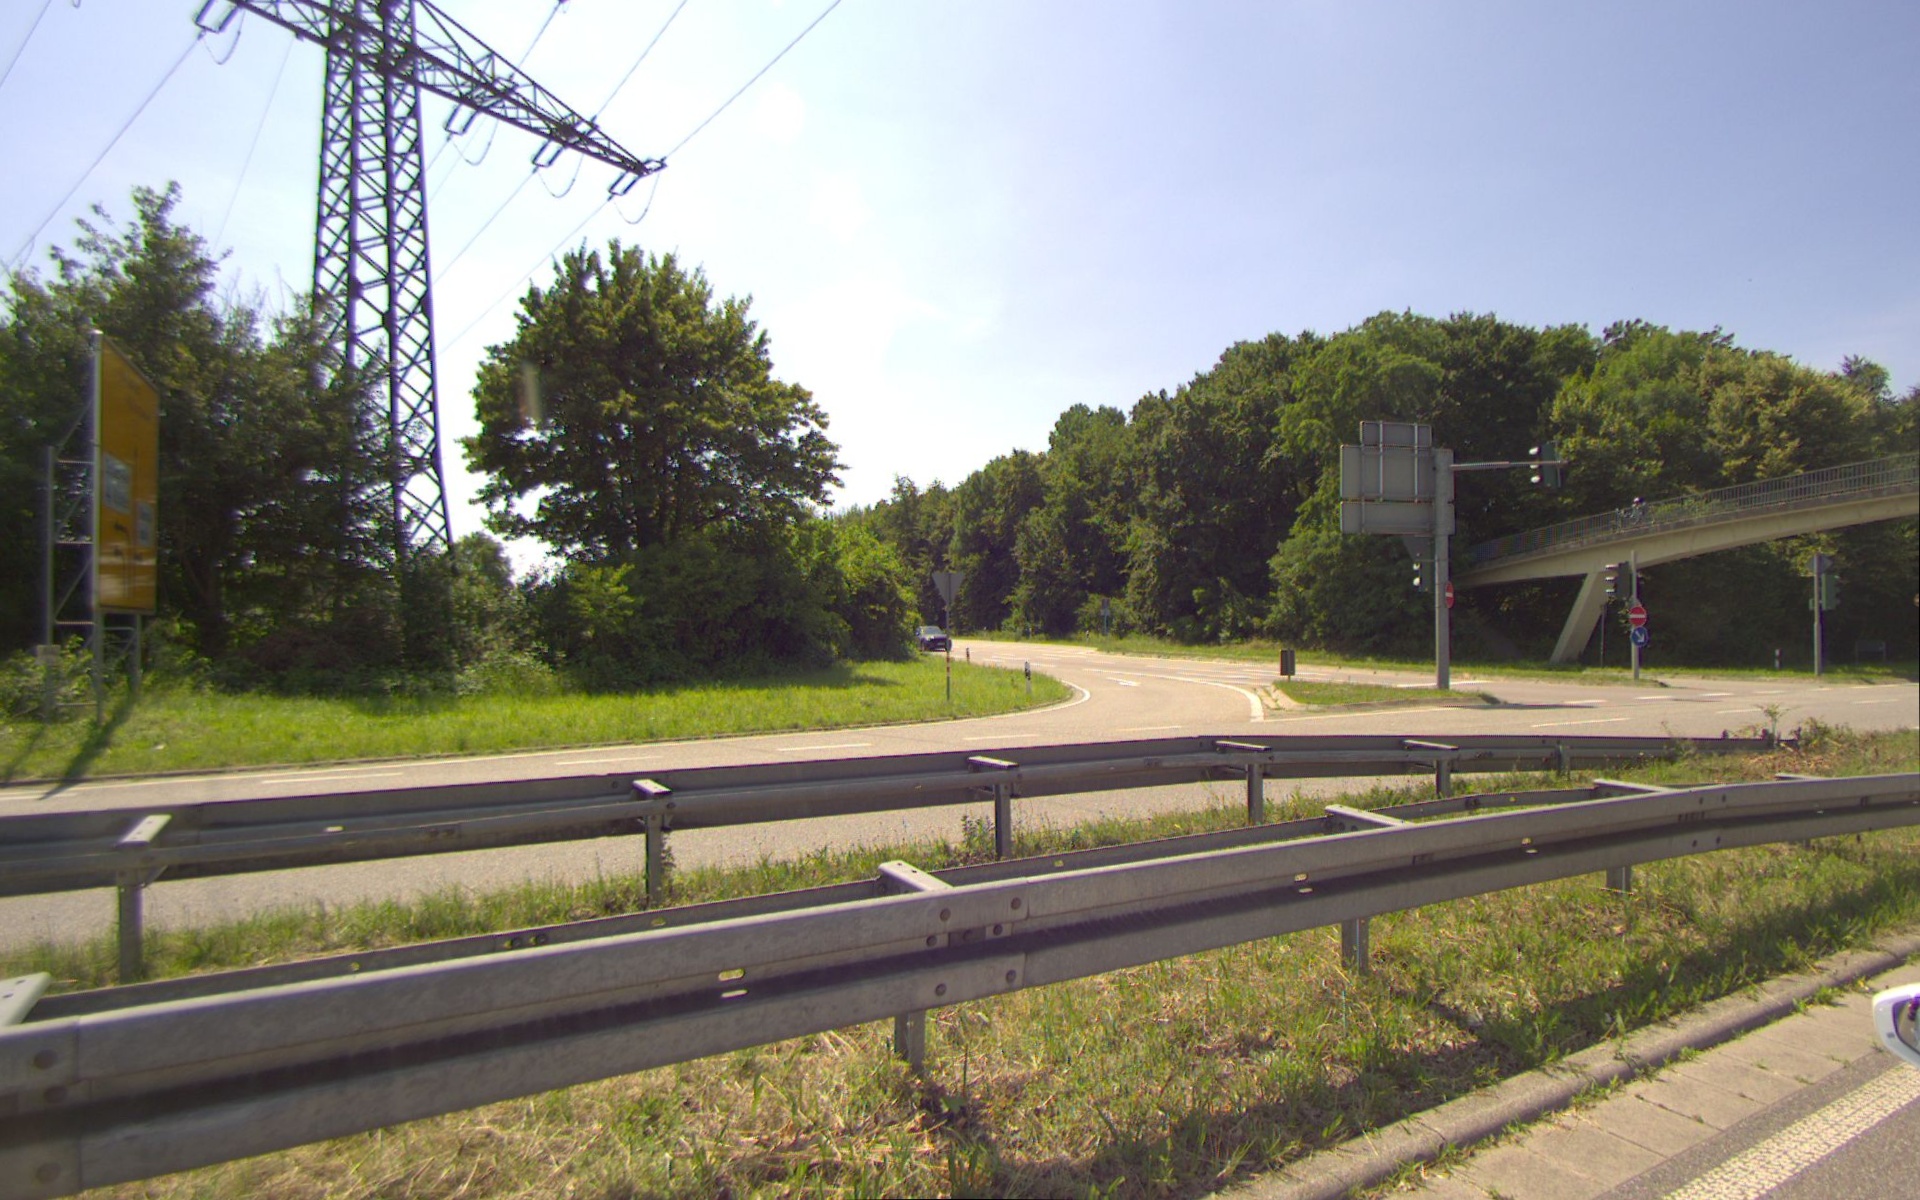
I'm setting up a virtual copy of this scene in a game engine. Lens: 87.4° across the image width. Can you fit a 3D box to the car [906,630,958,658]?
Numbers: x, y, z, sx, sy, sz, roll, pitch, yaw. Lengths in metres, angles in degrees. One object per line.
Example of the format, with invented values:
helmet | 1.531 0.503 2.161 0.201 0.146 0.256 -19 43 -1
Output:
car | -1.957 2.960 68.102 2.017 1.721 5.064 -3 -1 -20
